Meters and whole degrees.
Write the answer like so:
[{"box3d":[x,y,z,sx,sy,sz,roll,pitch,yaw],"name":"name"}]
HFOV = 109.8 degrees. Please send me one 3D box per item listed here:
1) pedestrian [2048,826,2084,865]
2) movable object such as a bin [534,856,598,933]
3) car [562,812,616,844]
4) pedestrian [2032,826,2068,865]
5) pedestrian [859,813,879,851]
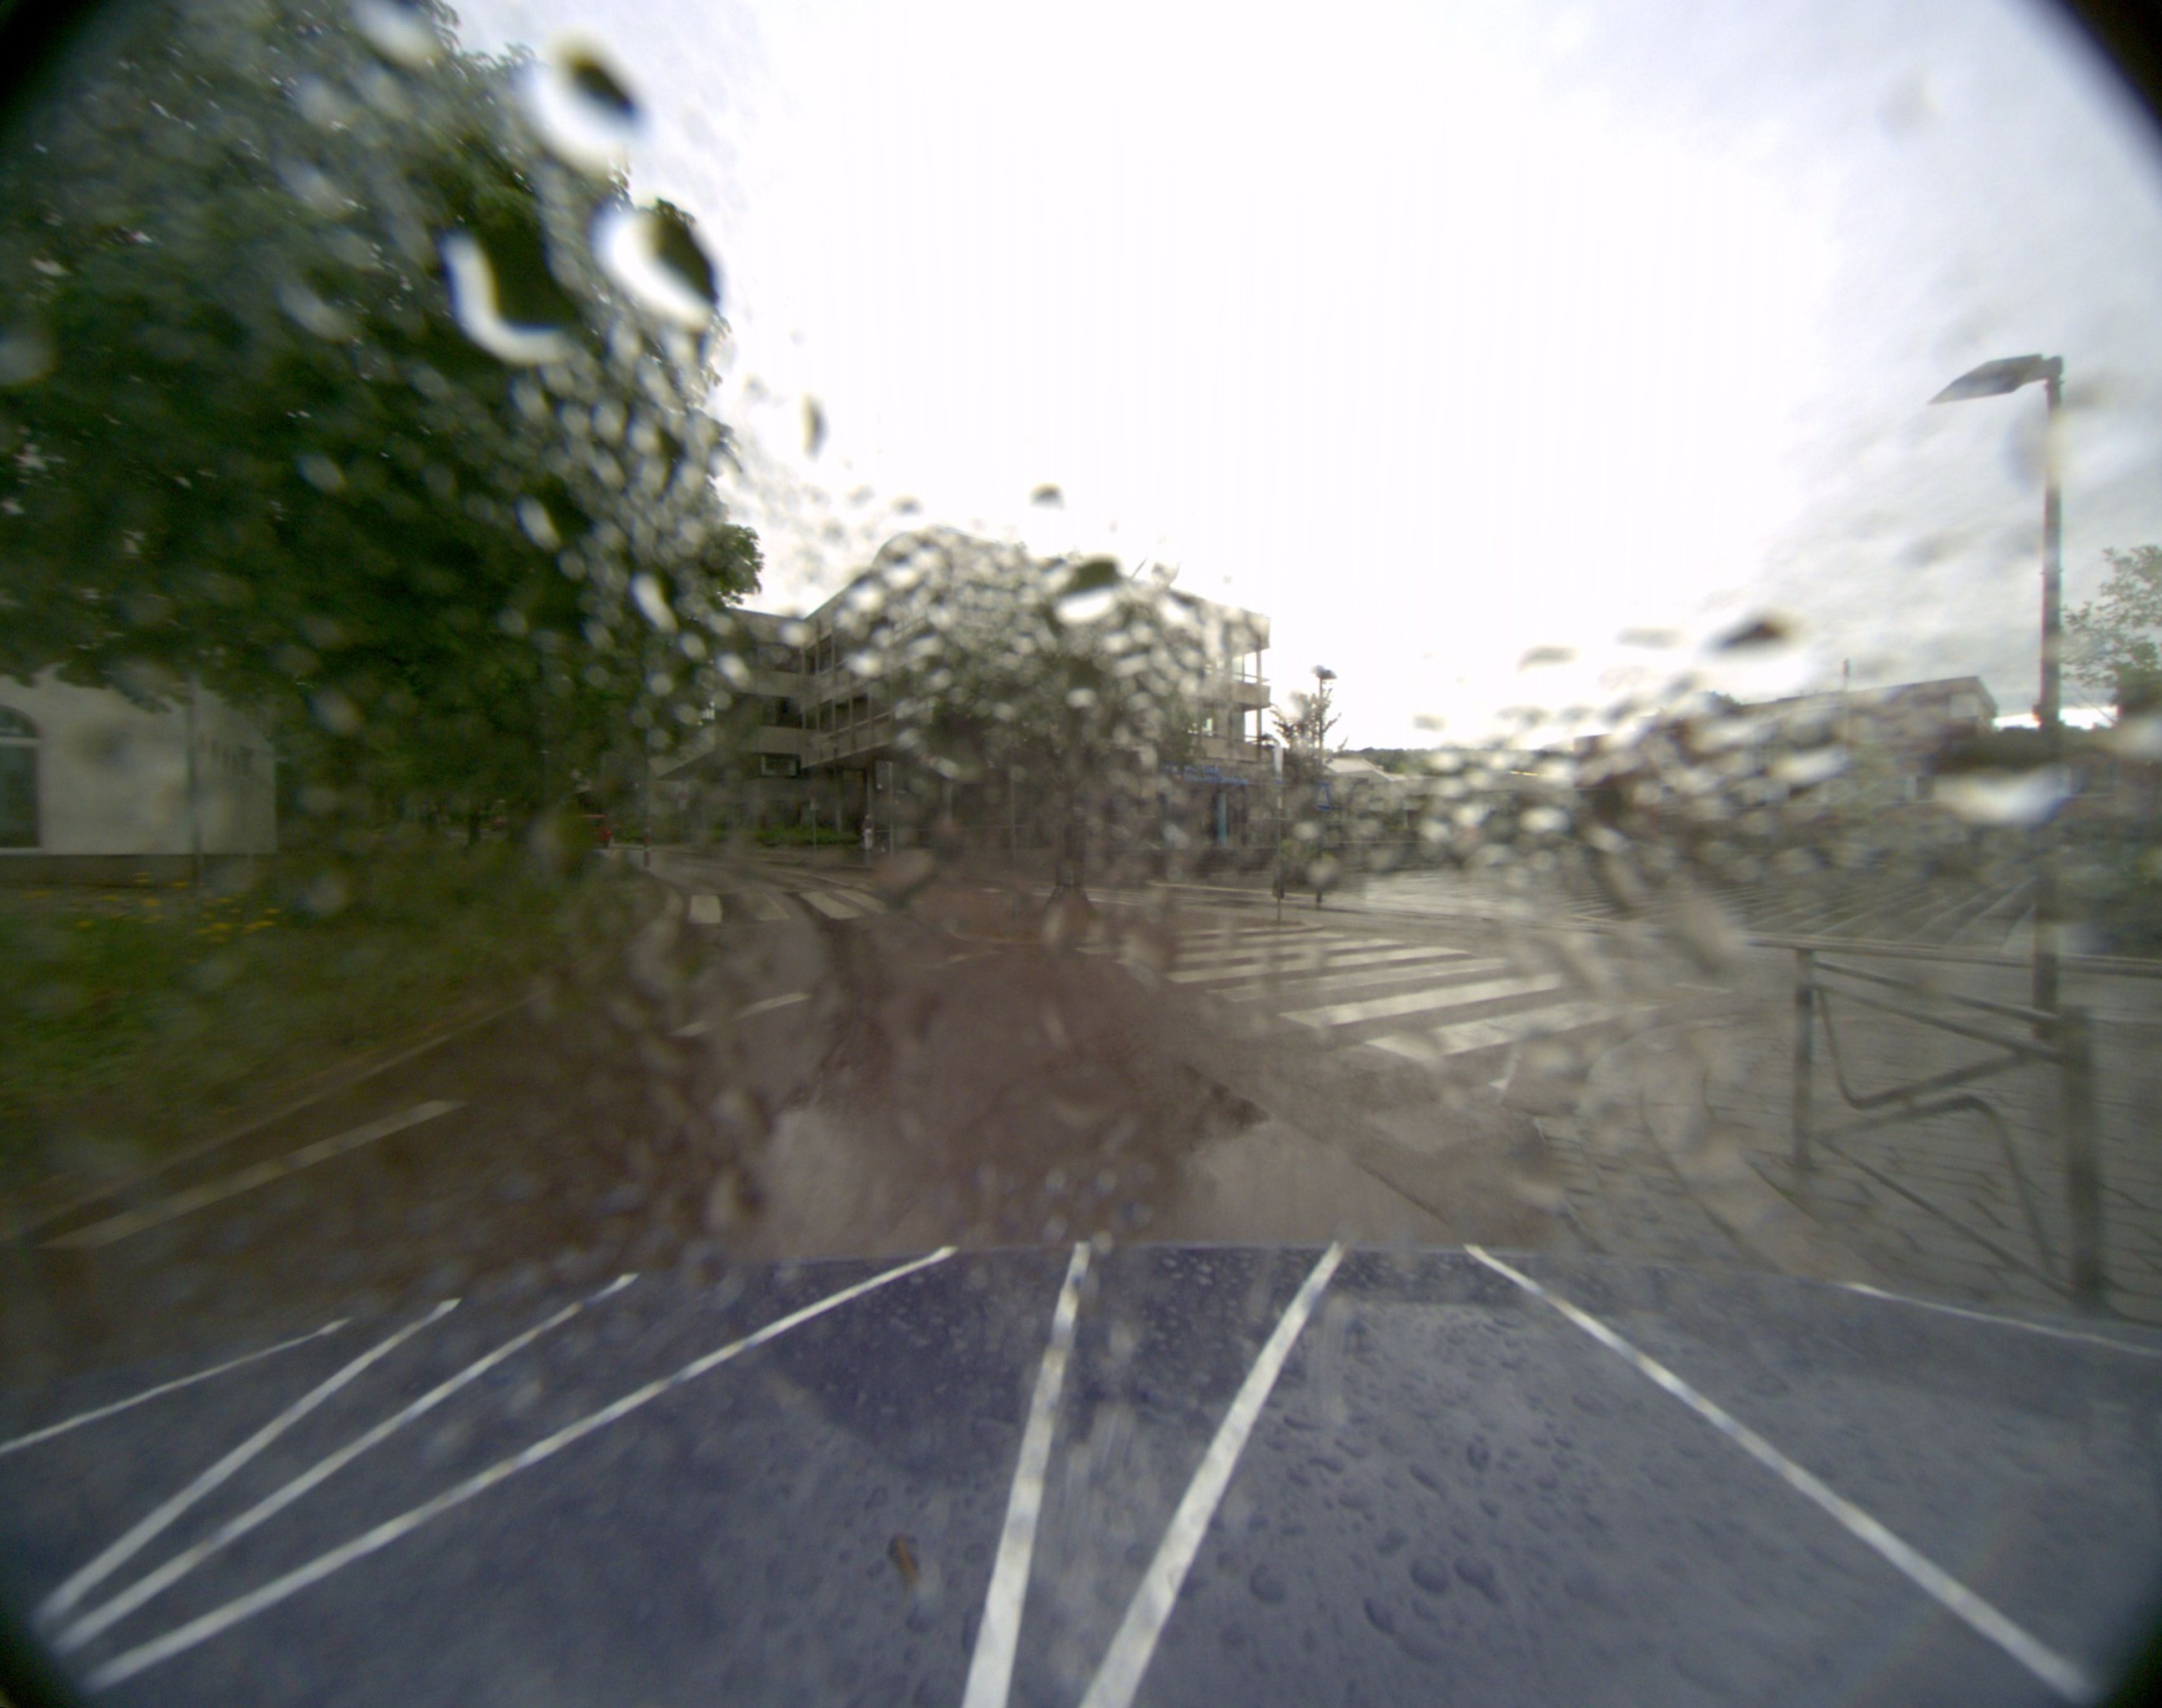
[{"box3d":[51.340,-0.445,39.611,0.862,2.003,0.731,-1,3,-3],"name":"pedestrian"},{"box3d":[-8.064,0.610,11.892,0.741,1.118,0.648,-3,3,-38],"name":"movable object such as a bin"},{"box3d":[-29.220,-1.513,45.077,1.872,1.820,4.172,-2,3,-45],"name":"car"},{"box3d":[50.445,-0.451,39.551,0.862,2.003,0.731,-1,3,-3],"name":"pedestrian"},{"box3d":[-10.319,-1.097,37.074,0.837,1.820,0.814,-1,4,-11],"name":"pedestrian"}]
